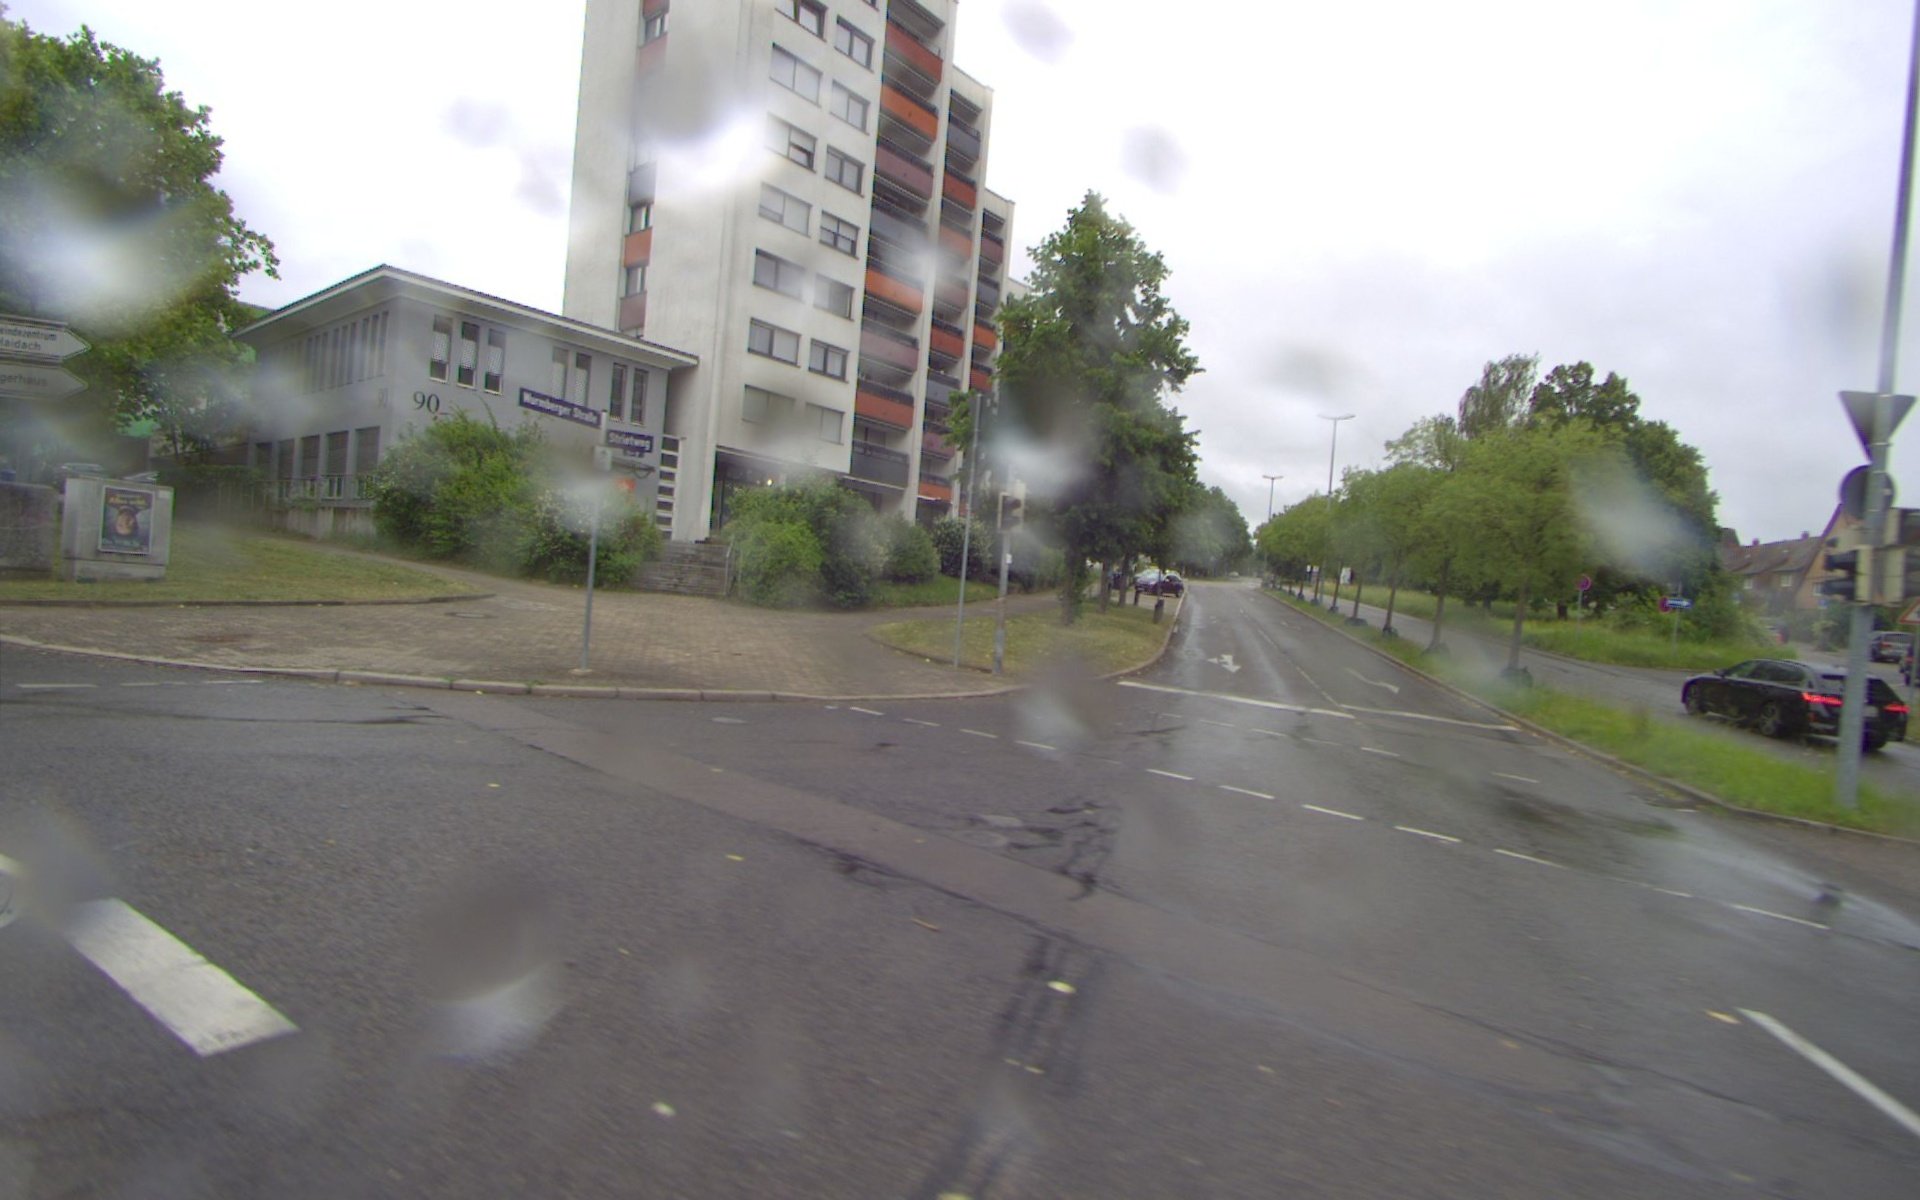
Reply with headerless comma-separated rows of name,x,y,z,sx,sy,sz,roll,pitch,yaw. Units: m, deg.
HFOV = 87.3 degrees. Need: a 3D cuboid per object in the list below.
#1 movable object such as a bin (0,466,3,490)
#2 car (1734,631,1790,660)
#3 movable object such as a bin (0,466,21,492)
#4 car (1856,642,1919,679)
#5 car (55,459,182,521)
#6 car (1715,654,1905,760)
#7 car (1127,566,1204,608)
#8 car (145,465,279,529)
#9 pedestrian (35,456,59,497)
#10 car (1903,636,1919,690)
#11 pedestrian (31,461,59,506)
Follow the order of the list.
movable object such as a bin,-36.739,-4.678,38.224,0.448,0.916,0.458,7,0,-39
car,44.442,2.548,55.804,1.452,1.332,2.998,7,-1,22
movable object such as a bin,-36.363,-4.623,38.528,0.448,0.916,0.458,7,0,-39
car,49.111,3.176,53.048,1.812,1.620,3.801,8,2,30
car,-36.823,-4.771,44.065,1.975,1.954,3.978,6,-1,45
car,16.717,2.031,20.002,1.500,1.554,3.529,7,2,18
car,12.787,-0.822,62.672,4.284,2.038,2.001,7,-1,20
car,-30.286,-4.131,40.812,1.974,1.837,3.980,6,-1,44
pedestrian,-38.879,-5.239,42.838,0.518,1.636,0.599,7,0,42
car,35.800,2.423,36.352,3.778,1.866,1.823,5,3,-39
pedestrian,-38.838,-4.945,42.718,0.716,1.785,0.558,7,0,31
